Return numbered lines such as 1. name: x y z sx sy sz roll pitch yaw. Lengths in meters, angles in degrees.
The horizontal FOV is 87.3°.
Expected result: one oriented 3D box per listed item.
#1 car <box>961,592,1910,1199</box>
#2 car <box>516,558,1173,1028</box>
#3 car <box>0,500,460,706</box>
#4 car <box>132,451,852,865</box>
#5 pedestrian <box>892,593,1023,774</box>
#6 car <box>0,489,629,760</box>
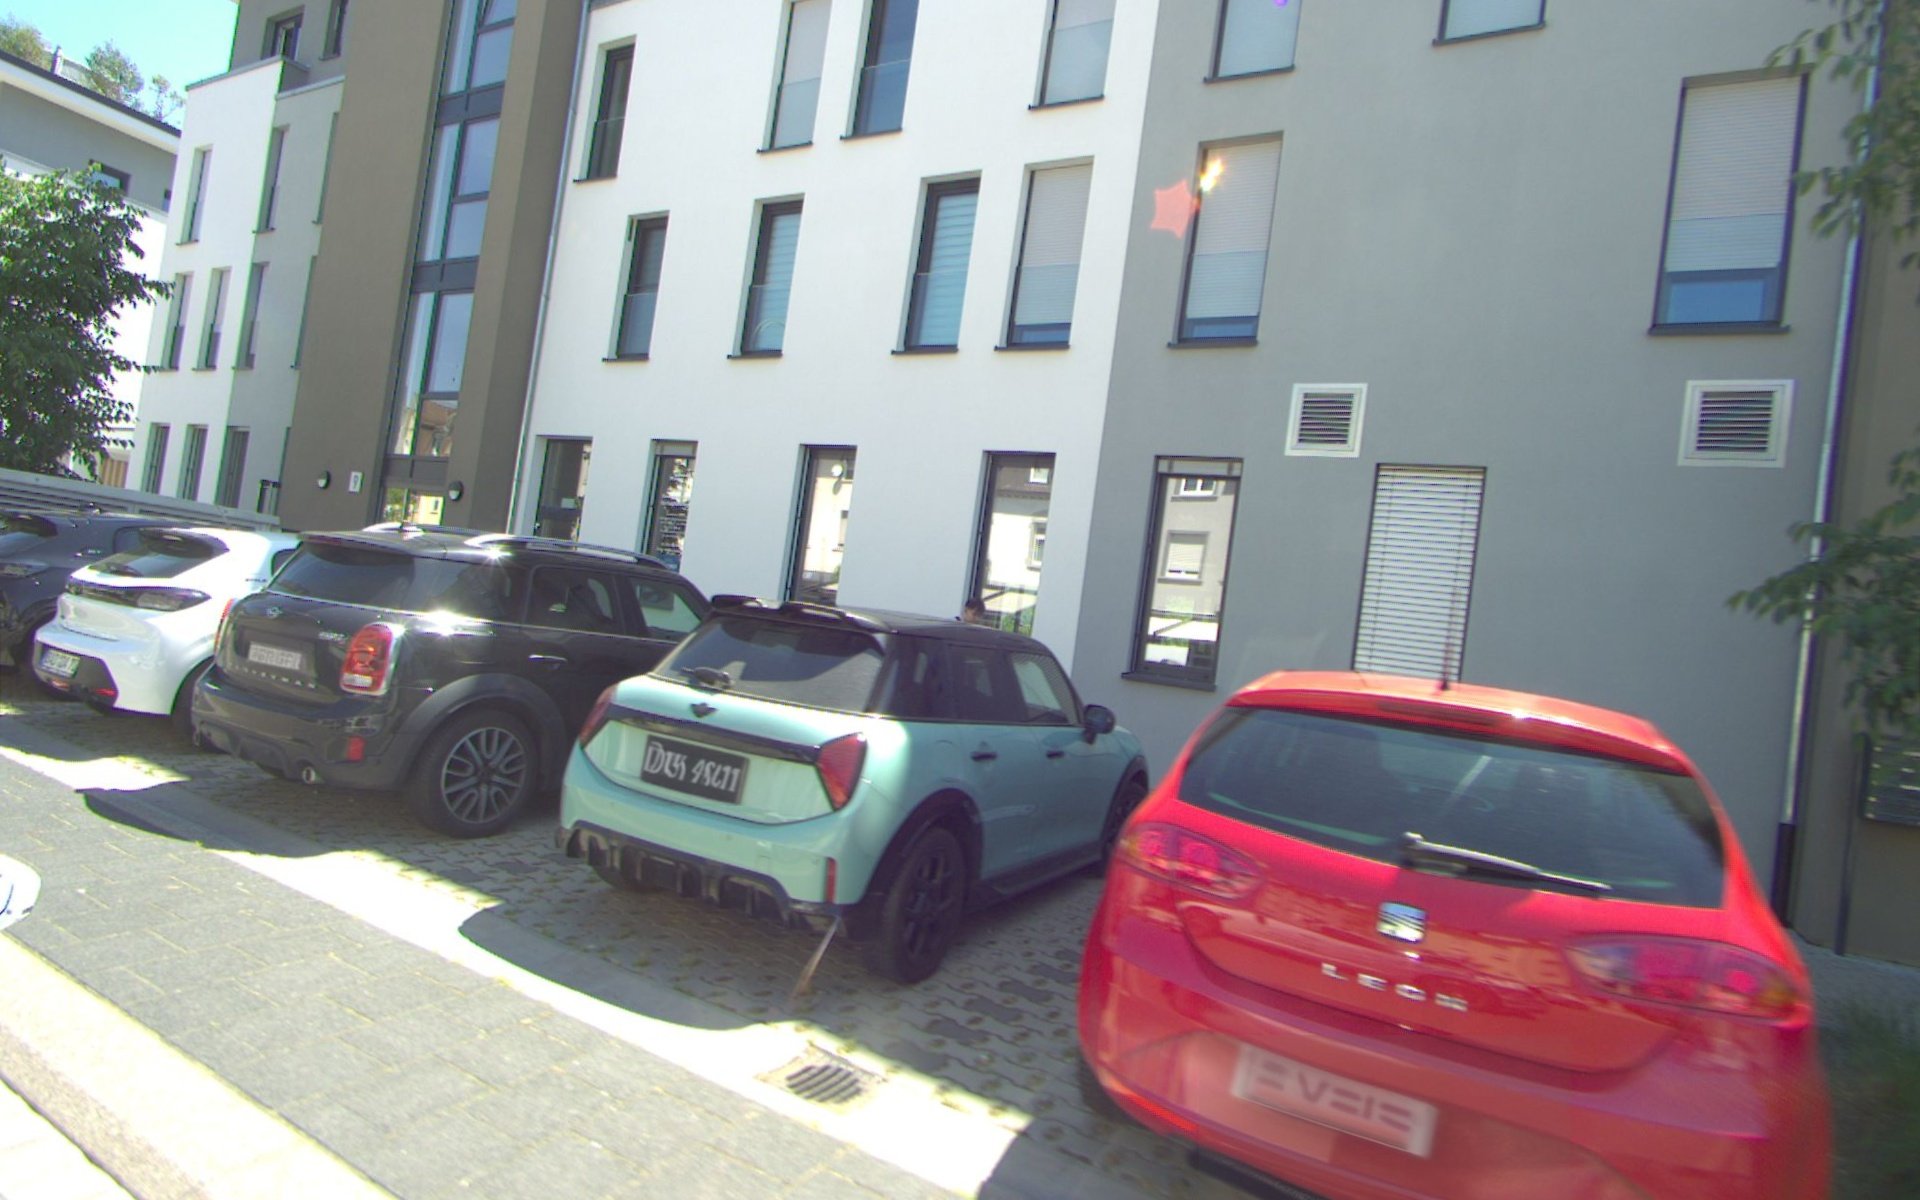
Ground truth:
1. car: 1.692 0.985 3.758 1.623 1.479 3.819 7 -2 28
2. car: -0.226 0.796 5.398 1.589 1.479 3.616 7 -1 28
3. car: -6.642 0.081 8.874 1.510 1.462 3.662 6 -1 31
4. car: -2.624 0.381 6.614 1.808 1.807 3.819 7 -2 28
5. pedestrian: -0.029 0.854 10.404 0.990 1.703 0.576 7 -2 31
6. car: -4.764 0.282 7.939 1.747 1.499 3.819 7 -2 28
